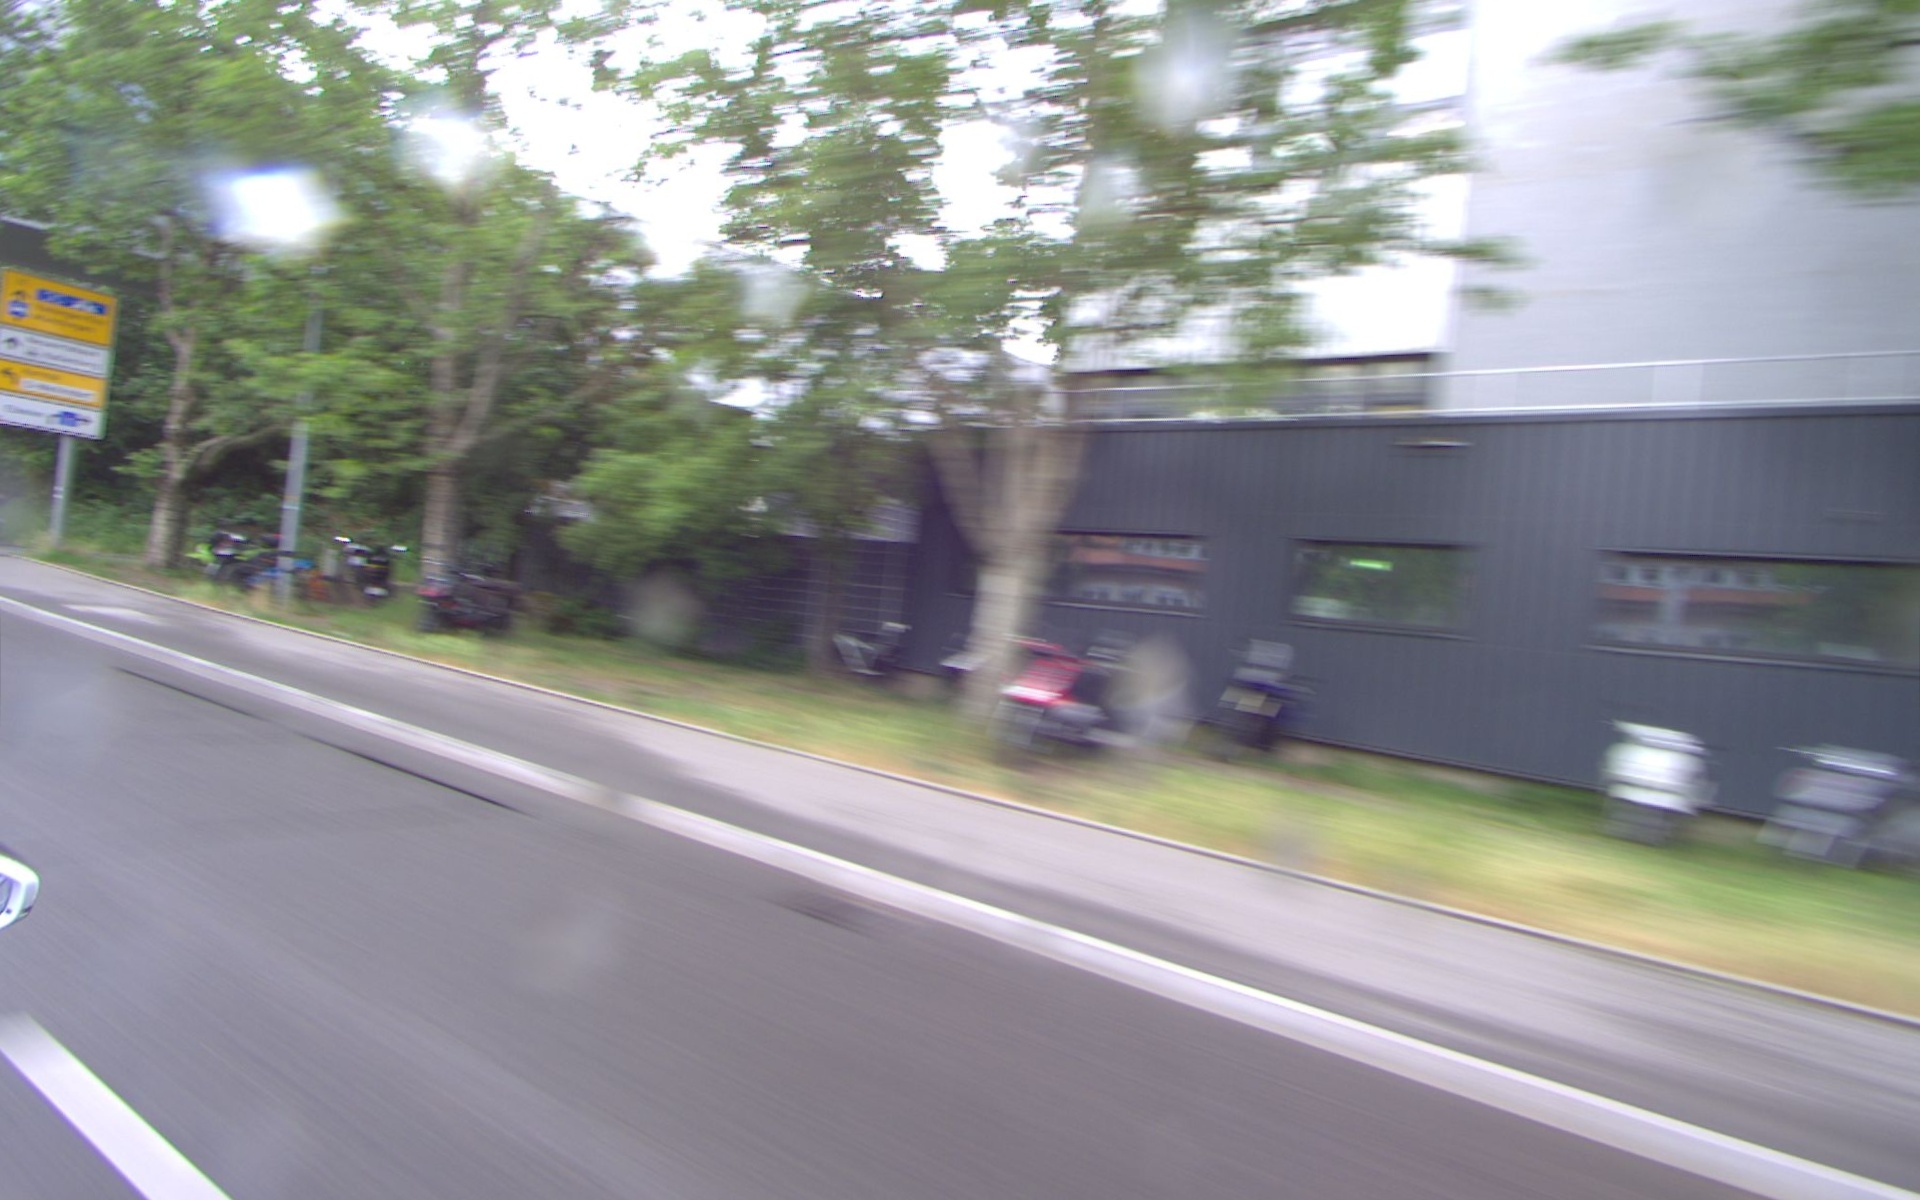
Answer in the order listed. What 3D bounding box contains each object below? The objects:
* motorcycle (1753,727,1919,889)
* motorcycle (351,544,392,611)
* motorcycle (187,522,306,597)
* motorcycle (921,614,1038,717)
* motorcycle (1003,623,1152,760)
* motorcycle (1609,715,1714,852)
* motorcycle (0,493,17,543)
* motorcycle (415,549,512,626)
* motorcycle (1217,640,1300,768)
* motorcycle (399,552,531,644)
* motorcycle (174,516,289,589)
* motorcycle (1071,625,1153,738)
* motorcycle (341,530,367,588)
[{"bbox_3d":[7.916,1.792,8.446,1.861,1.158,0.478,7,-2,12],"label":"motorcycle"},{"bbox_3d":[-12.328,-0.502,21.110,0.515,1.295,1.841,7,0,-27],"label":"motorcycle"},{"bbox_3d":[-14.264,-0.782,20.184,0.618,1.268,1.855,7,0,16],"label":"motorcycle"},{"bbox_3d":[0.313,0.962,14.284,0.484,1.271,1.916,6,-3,37],"label":"motorcycle"},{"bbox_3d":[1.164,0.905,9.627,0.486,1.163,1.653,6,-3,39],"label":"motorcycle"},{"bbox_3d":[6.891,1.783,9.848,0.552,1.158,1.637,6,-3,42],"label":"motorcycle"},{"bbox_3d":[-26.407,-2.289,26.634,1.919,1.313,0.544,7,0,-24],"label":"motorcycle"},{"bbox_3d":[-9.766,-0.250,19.753,1.958,1.295,0.646,7,0,31],"label":"motorcycle"},{"bbox_3d":[3.652,1.266,12.184,0.497,1.380,1.935,7,-3,27],"label":"motorcycle"},{"bbox_3d":[-7.215,0.003,14.769,0.512,1.205,1.855,7,0,16],"label":"motorcycle"},{"bbox_3d":[-15.471,-0.994,21.403,1.821,1.268,0.629,8,0,-4],"label":"motorcycle"},{"bbox_3d":[2.050,1.105,13.438,0.497,1.380,1.504,7,-3,27],"label":"motorcycle"},{"bbox_3d":[-14.277,-0.986,23.733,0.345,1.295,2.055,7,0,-30],"label":"motorcycle"}]
